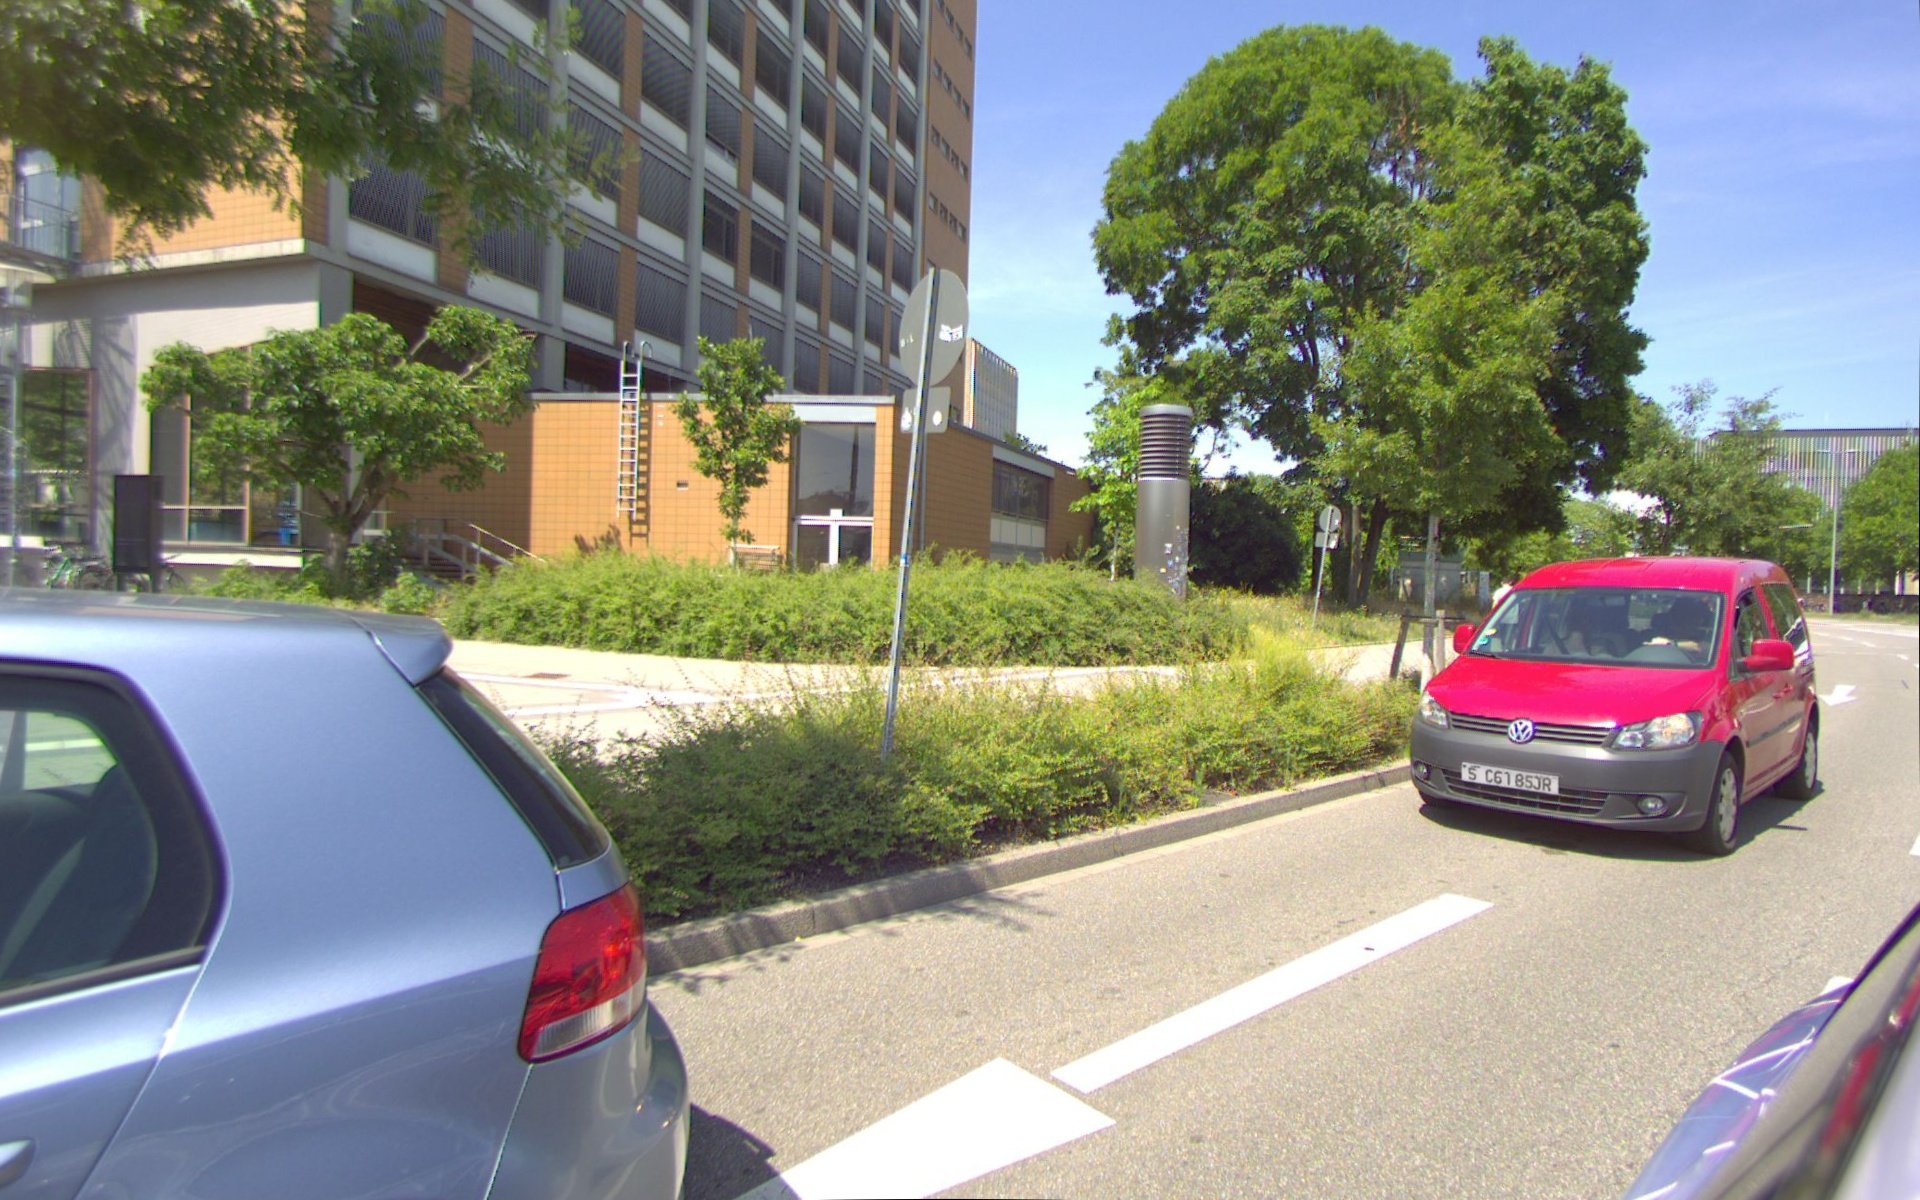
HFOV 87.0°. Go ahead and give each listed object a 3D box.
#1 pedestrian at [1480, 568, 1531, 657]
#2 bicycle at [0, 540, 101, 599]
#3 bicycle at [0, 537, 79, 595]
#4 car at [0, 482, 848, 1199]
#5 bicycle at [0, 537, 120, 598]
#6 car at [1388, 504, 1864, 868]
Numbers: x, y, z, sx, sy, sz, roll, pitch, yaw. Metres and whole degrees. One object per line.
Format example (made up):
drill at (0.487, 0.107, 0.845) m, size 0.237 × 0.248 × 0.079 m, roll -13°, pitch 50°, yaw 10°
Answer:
pedestrian at (11.509, 0.255, 21.367) m, size 0.603 × 1.820 × 0.728 m, roll 1°, pitch 1°, yaw -40°
bicycle at (-20.064, -0.654, 21.921) m, size 0.629 × 1.233 × 2.202 m, roll 0°, pitch 0°, yaw 22°
bicycle at (-20.777, -0.739, 22.152) m, size 0.630 × 1.233 × 2.201 m, roll 0°, pitch 0°, yaw 22°
car at (-2.207, 0.606, 1.062) m, size 3.934 × 1.477 × 1.654 m, roll 0°, pitch 0°, yaw -42°
bicycle at (-19.368, -0.667, 21.578) m, size 0.629 × 1.233 × 2.202 m, roll 0°, pitch 0°, yaw 22°
car at (4.999, 0.433, 7.311) m, size 4.465 × 1.882 × 1.655 m, roll 0°, pitch 1°, yaw -40°
